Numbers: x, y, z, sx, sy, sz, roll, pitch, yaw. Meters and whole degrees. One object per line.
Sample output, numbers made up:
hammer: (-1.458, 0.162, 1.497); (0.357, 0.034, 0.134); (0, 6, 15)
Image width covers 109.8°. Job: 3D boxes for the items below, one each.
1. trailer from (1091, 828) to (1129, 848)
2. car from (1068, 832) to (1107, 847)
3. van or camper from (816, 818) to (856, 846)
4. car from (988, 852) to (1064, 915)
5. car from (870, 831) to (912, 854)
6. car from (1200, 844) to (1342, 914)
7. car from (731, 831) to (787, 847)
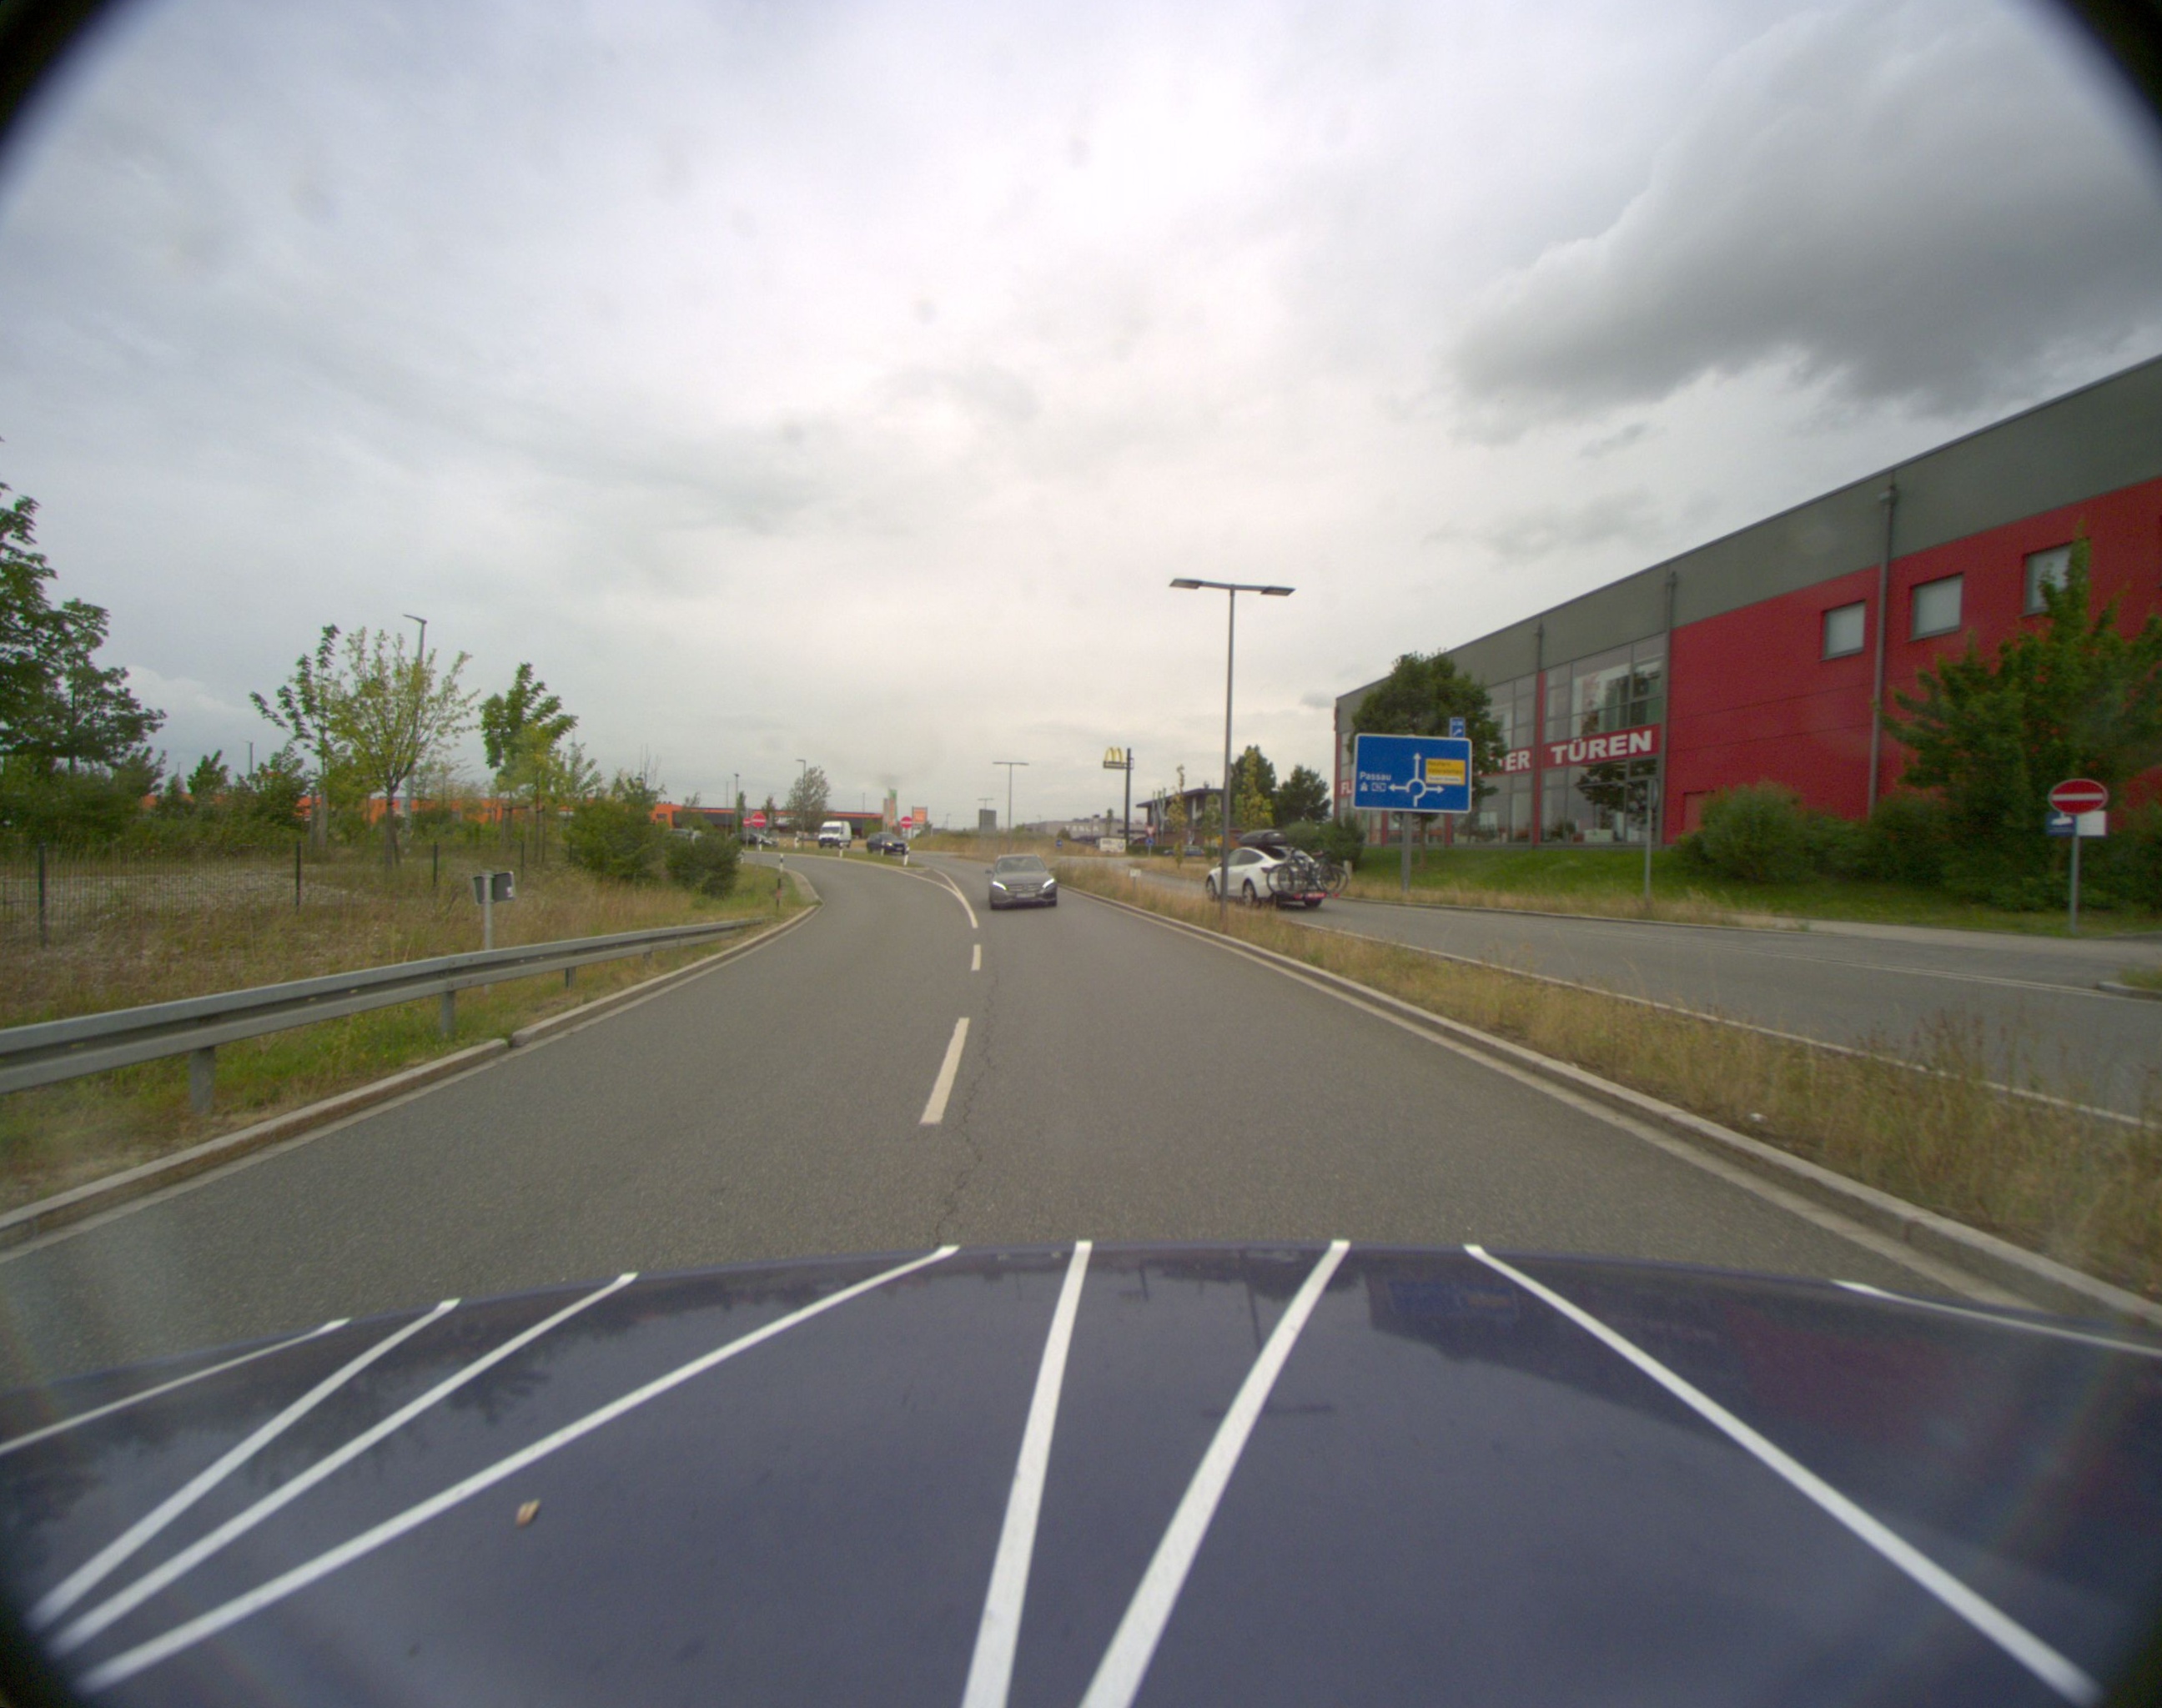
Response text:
trailer: (3.346, -1.873, 88.573); (4.132, 2.079, 1.816); (4, 2, 44)
car: (0.800, -1.746, 90.984); (4.601, 1.660, 1.821); (2, 1, 44)
van or camper: (-23.754, -2.126, 73.975); (2.334, 2.635, 6.040); (0, 1, -5)
car: (-1.685, 0.771, 21.962); (1.907, 1.489, 4.335); (-2, 1, -7)
car: (-14.784, -0.872, 59.001); (1.847, 1.709, 3.990); (-2, 1, -33)
car: (5.020, 0.613, 20.846); (1.915, 1.617, 4.632); (-2, 0, -12)
car: (-28.100, -1.327, 66.377); (4.139, 1.363, 1.844); (1, 2, 7)
